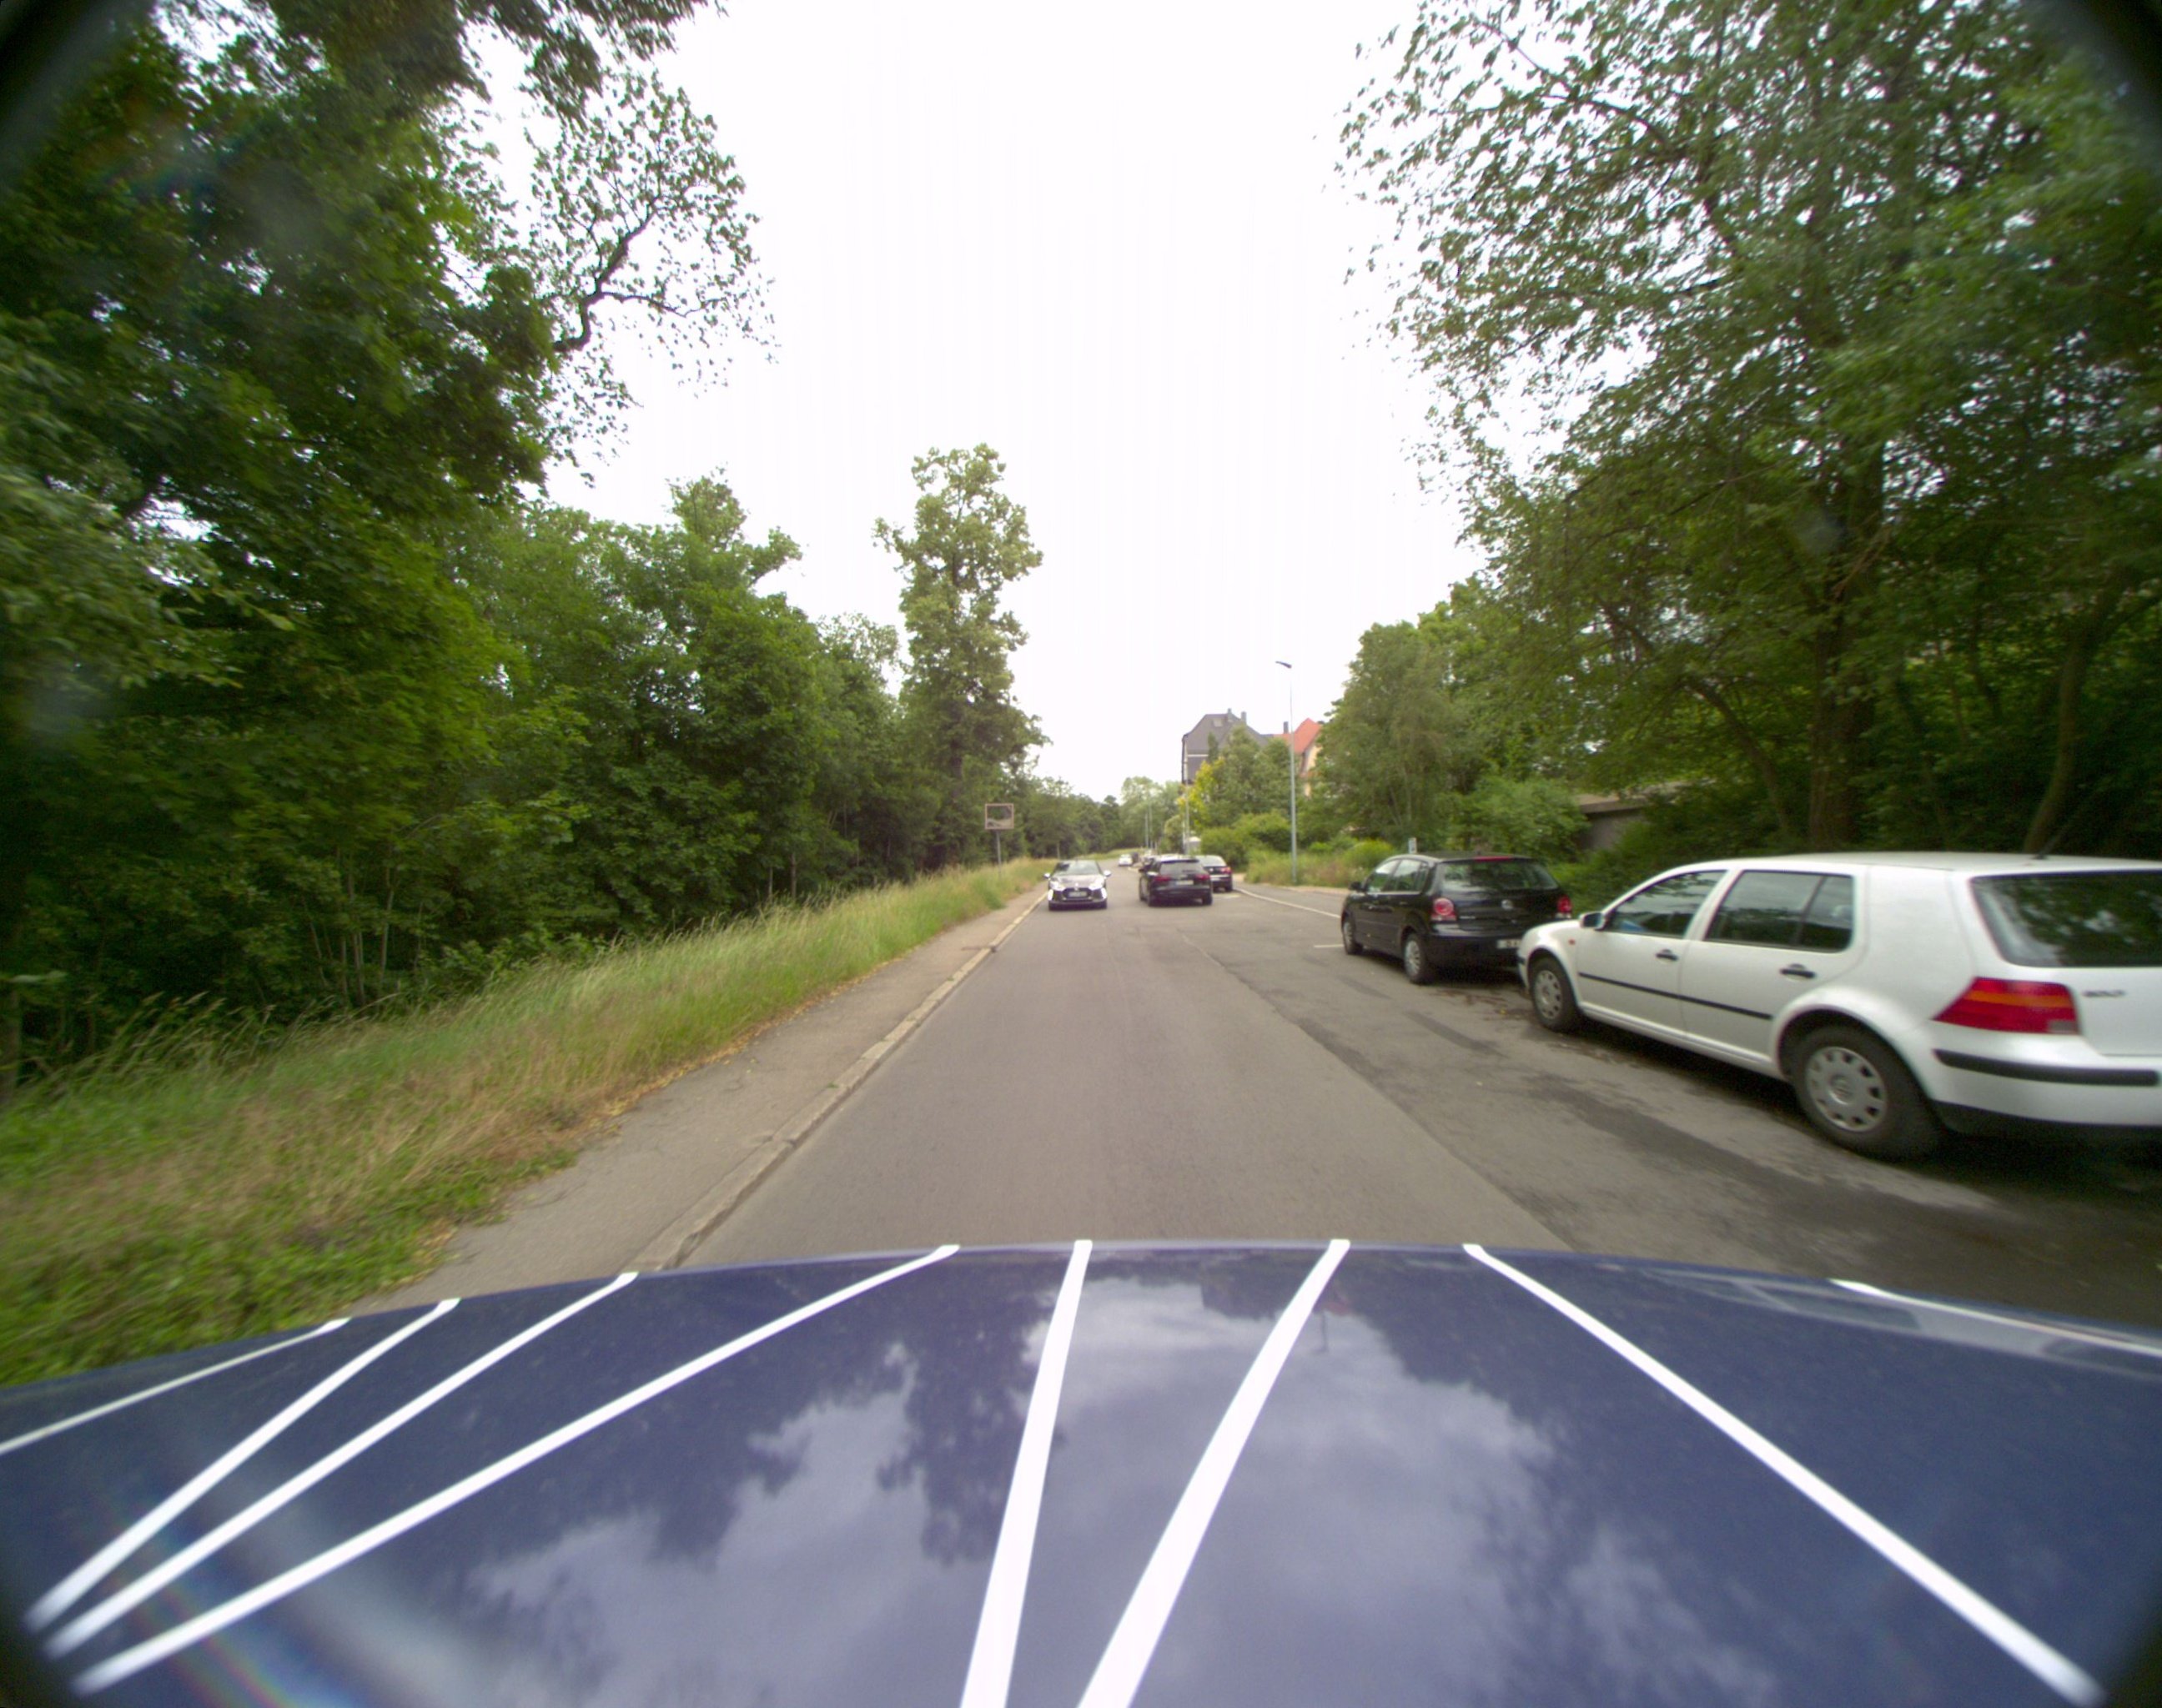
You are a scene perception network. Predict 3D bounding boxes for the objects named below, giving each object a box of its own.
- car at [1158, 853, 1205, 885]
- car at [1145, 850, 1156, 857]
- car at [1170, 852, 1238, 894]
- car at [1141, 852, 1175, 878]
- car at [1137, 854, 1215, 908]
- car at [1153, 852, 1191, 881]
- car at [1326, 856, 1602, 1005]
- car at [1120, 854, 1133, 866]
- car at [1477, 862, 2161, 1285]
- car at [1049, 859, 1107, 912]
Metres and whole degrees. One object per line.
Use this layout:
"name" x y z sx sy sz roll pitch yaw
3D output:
"car" 4.744 0.670 36.336 1.628 1.423 4.350 -1 0 0
"car" 13.679 -0.113 149.732 1.735 1.420 3.460 0 1 12
"car" 4.701 0.685 29.847 1.783 1.423 5.105 -2 0 0
"car" 4.648 0.637 46.455 1.710 1.474 4.496 -1 0 2
"car" 2.836 0.761 23.481 1.785 1.417 4.489 -2 0 0
"car" 4.878 0.620 41.228 1.628 1.474 4.000 -1 0 1
"car" 4.491 0.783 9.627 1.626 1.441 3.969 -1 0 3
"car" 5.882 0.779 98.344 1.646 1.461 4.072 0 0 4
"car" 4.486 0.818 4.907 1.663 1.444 4.382 -1 0 2
"car" -0.012 0.903 23.267 1.619 1.460 4.001 0 -1 2
